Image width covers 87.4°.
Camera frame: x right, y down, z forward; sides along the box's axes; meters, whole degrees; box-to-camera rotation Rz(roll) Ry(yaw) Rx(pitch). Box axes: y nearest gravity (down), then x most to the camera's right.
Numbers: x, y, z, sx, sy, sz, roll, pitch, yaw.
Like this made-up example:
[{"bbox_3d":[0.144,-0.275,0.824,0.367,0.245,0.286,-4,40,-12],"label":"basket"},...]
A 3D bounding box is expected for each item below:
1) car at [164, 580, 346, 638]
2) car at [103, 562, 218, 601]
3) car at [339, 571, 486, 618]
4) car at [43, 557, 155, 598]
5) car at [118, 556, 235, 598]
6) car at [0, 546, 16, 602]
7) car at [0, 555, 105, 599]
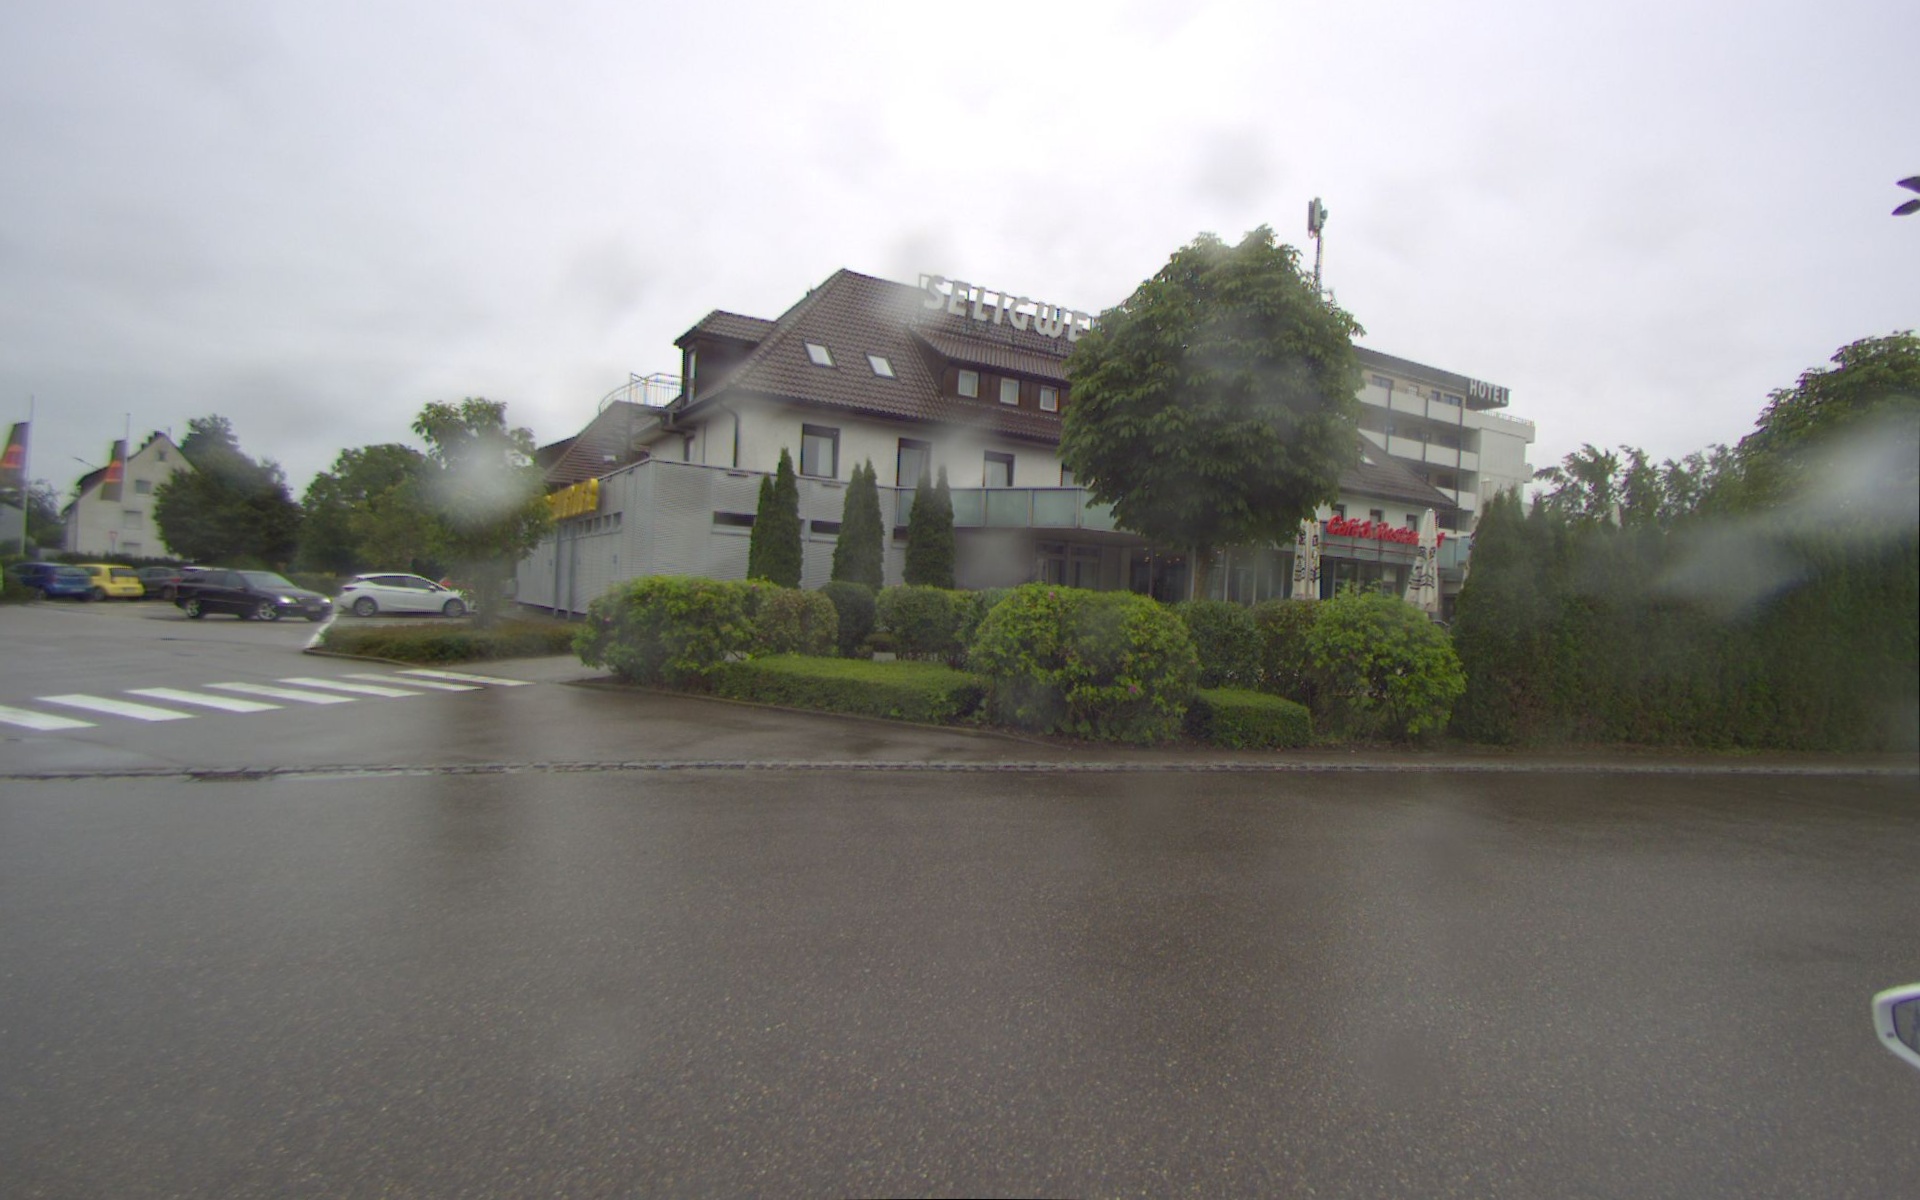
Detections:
[{"bbox_3d":[-20.158,0.249,28.798,4.272,1.444,1.707,2,1,9],"label":"car"},{"bbox_3d":[-34.593,-0.796,43.503,3.810,1.591,1.750,1,0,8],"label":"car"},{"bbox_3d":[-18.816,-0.168,34.590,4.314,1.444,1.834,2,0,-33],"label":"car"},{"bbox_3d":[-35.126,-0.905,41.000,3.651,1.570,1.667,1,0,14],"label":"car"},{"bbox_3d":[-35.603,-1.031,45.711,3.919,1.751,1.991,1,0,8],"label":"car"},{"bbox_3d":[-32.964,-0.866,30.934,5.317,1.745,1.983,1,0,-32],"label":"car"},{"bbox_3d":[-35.380,-0.885,38.187,4.554,1.571,2.001,1,0,11],"label":"car"}]
